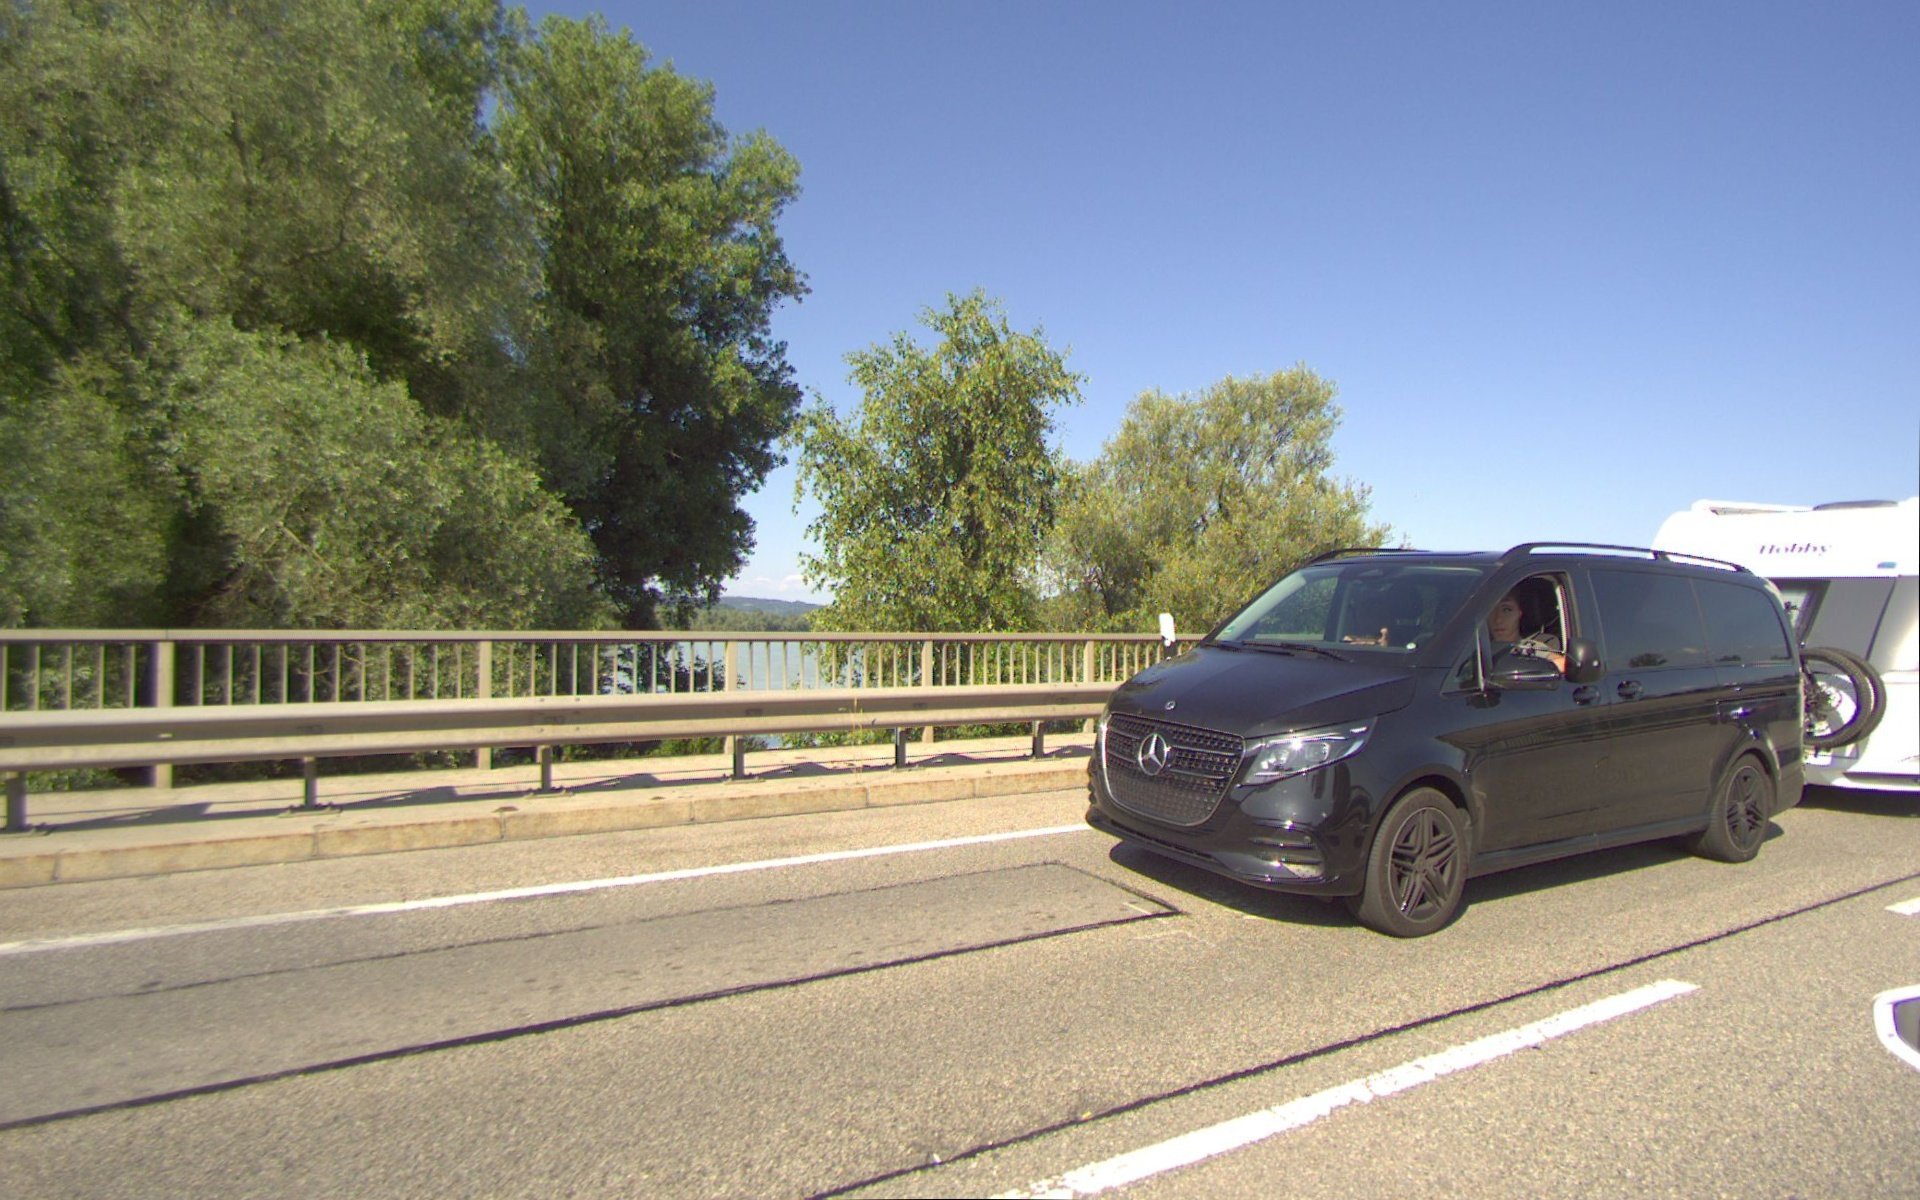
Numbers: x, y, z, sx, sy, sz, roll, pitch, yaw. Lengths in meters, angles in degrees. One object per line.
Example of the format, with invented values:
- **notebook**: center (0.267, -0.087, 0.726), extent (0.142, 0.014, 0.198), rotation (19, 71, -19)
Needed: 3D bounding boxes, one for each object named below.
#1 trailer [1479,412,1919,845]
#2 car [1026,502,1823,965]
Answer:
- **trailer**: center (8.558, 0.264, 9.532), extent (7.965, 2.774, 2.544), rotation (1, -1, -30)
- **car**: center (3.019, 0.606, 6.188), extent (4.949, 1.878, 1.974), rotation (2, -1, -30)
